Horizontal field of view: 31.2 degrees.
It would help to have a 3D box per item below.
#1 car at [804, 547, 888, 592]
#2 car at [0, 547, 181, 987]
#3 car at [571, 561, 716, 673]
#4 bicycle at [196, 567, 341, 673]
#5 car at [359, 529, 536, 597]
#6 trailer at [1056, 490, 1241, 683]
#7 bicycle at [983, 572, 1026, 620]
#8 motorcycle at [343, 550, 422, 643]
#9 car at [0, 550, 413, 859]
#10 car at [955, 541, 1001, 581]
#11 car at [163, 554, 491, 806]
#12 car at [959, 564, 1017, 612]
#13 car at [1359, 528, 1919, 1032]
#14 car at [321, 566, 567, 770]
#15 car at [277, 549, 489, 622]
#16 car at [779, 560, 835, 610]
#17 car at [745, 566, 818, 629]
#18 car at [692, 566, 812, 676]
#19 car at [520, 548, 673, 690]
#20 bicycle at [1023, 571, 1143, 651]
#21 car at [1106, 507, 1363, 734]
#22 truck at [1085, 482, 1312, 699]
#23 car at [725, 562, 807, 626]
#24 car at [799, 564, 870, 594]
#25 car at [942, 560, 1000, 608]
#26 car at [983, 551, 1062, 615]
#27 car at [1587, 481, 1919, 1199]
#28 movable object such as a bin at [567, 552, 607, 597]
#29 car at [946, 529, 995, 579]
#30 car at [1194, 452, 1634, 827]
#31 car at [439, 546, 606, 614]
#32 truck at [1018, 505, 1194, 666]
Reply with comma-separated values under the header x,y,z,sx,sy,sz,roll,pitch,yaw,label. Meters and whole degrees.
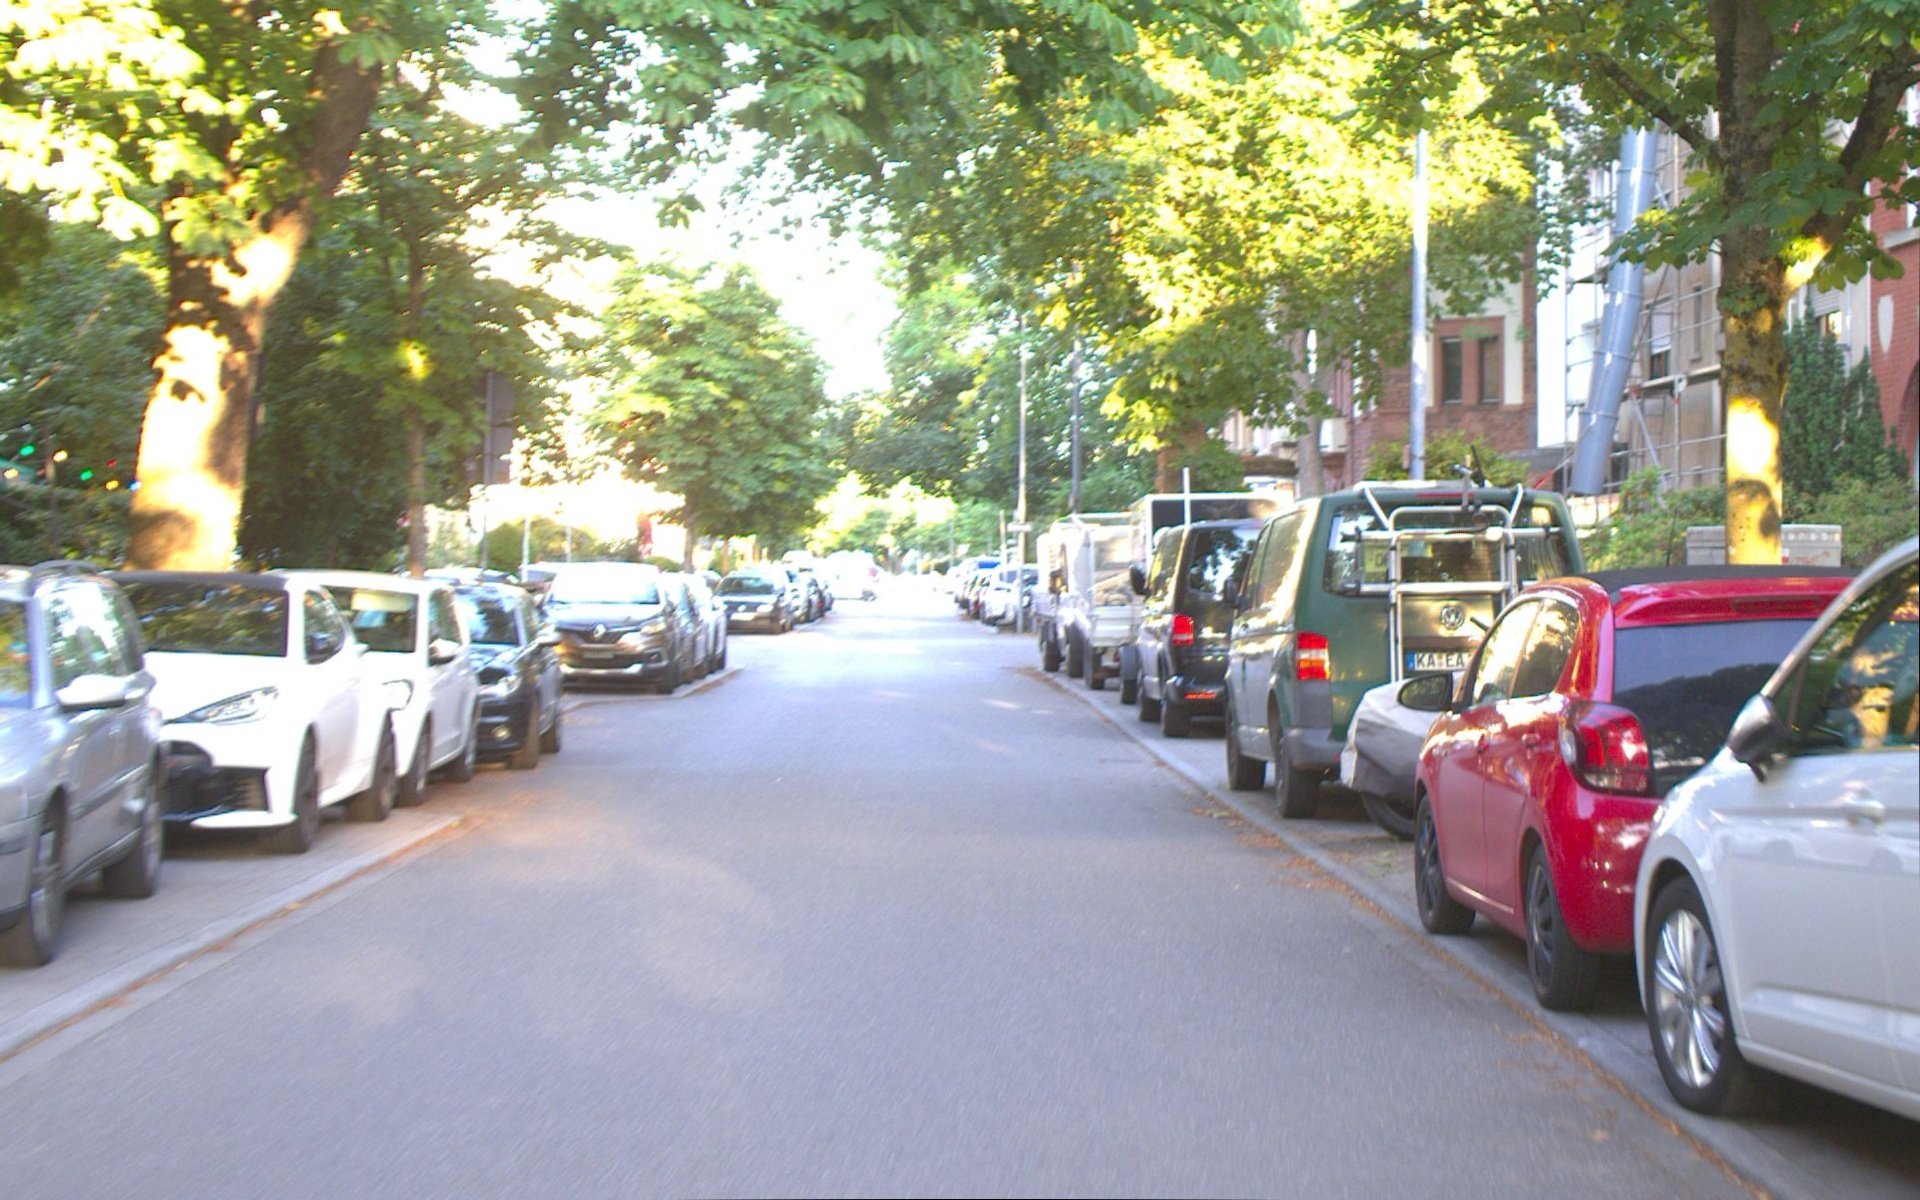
x,y,z,sx,sy,sz,roll,pitch,yaw,label
-5.992,-1.598,179.966,4.349,2.310,1.746,1,1,-2,car
-4.300,0.509,13.612,1.839,1.406,4.601,1,1,-6,car
-4.374,0.220,48.028,1.689,1.497,4.402,0,0,-1,car
-8.640,0.227,43.059,0.606,1.280,2.483,0,1,19,bicycle
-11.572,-0.847,77.717,3.564,1.442,1.817,1,2,8,car
2.365,-0.206,44.299,1.954,2.288,4.645,-2,1,-1,trailer
1.100,-0.103,84.801,0.444,1.169,1.634,1,0,24,bicycle
-7.921,-0.064,47.255,0.582,1.152,2.892,3,2,-1,motorcycle
-4.128,0.486,18.861,1.603,1.430,3.886,3,1,-1,car
0.689,-1.508,133.672,1.538,1.516,3.432,1,0,-3,car
-4.206,0.476,23.320,1.551,1.480,3.694,3,1,-1,car
0.875,-0.396,109.112,1.686,1.436,4.210,-1,1,-1,car
2.552,0.519,12.517,1.664,1.494,3.694,-2,1,-1,car
-4.052,0.487,27.448,1.551,1.480,3.694,0,1,-2,car
-12.160,-0.316,72.539,4.094,1.442,1.708,1,2,8,car
-4.946,-0.496,111.487,1.715,1.561,3.788,1,1,-1,car
-5.095,-0.098,98.792,1.921,1.711,4.428,1,1,-1,car
-3.258,0.287,53.100,1.689,1.497,4.739,3,1,-5,car
-4.458,0.194,42.641,1.689,1.558,4.403,3,1,-5,car
2.040,0.186,56.956,1.902,1.254,0.407,-2,1,-6,bicycle
2.520,0.125,32.610,1.839,1.936,4.614,-2,1,-2,car
2.625,-0.157,38.905,1.954,2.239,4.645,-2,1,-3,truck
-4.630,-0.166,82.604,1.616,1.465,3.961,1,1,2,car
-6.484,-1.072,177.294,3.618,1.456,1.607,1,1,-4,car
0.362,-0.541,116.342,1.686,1.600,3.940,1,0,-3,car
1.682,-0.471,93.978,1.798,1.705,4.601,0,0,-3,car
2.857,0.544,7.692,1.664,1.673,4.121,-2,1,-7,car
-11.449,-0.777,105.590,1.013,1.316,1.005,3,1,4,movable object such as a bin
0.415,-1.814,137.646,1.680,1.934,3.881,1,0,-3,car
2.730,0.167,21.828,1.954,2.052,4.831,-2,1,-2,car
-11.404,-0.525,89.714,4.092,1.522,1.709,4,1,-2,car
2.100,-0.213,51.385,1.977,2.237,6.777,0,0,-3,truck
